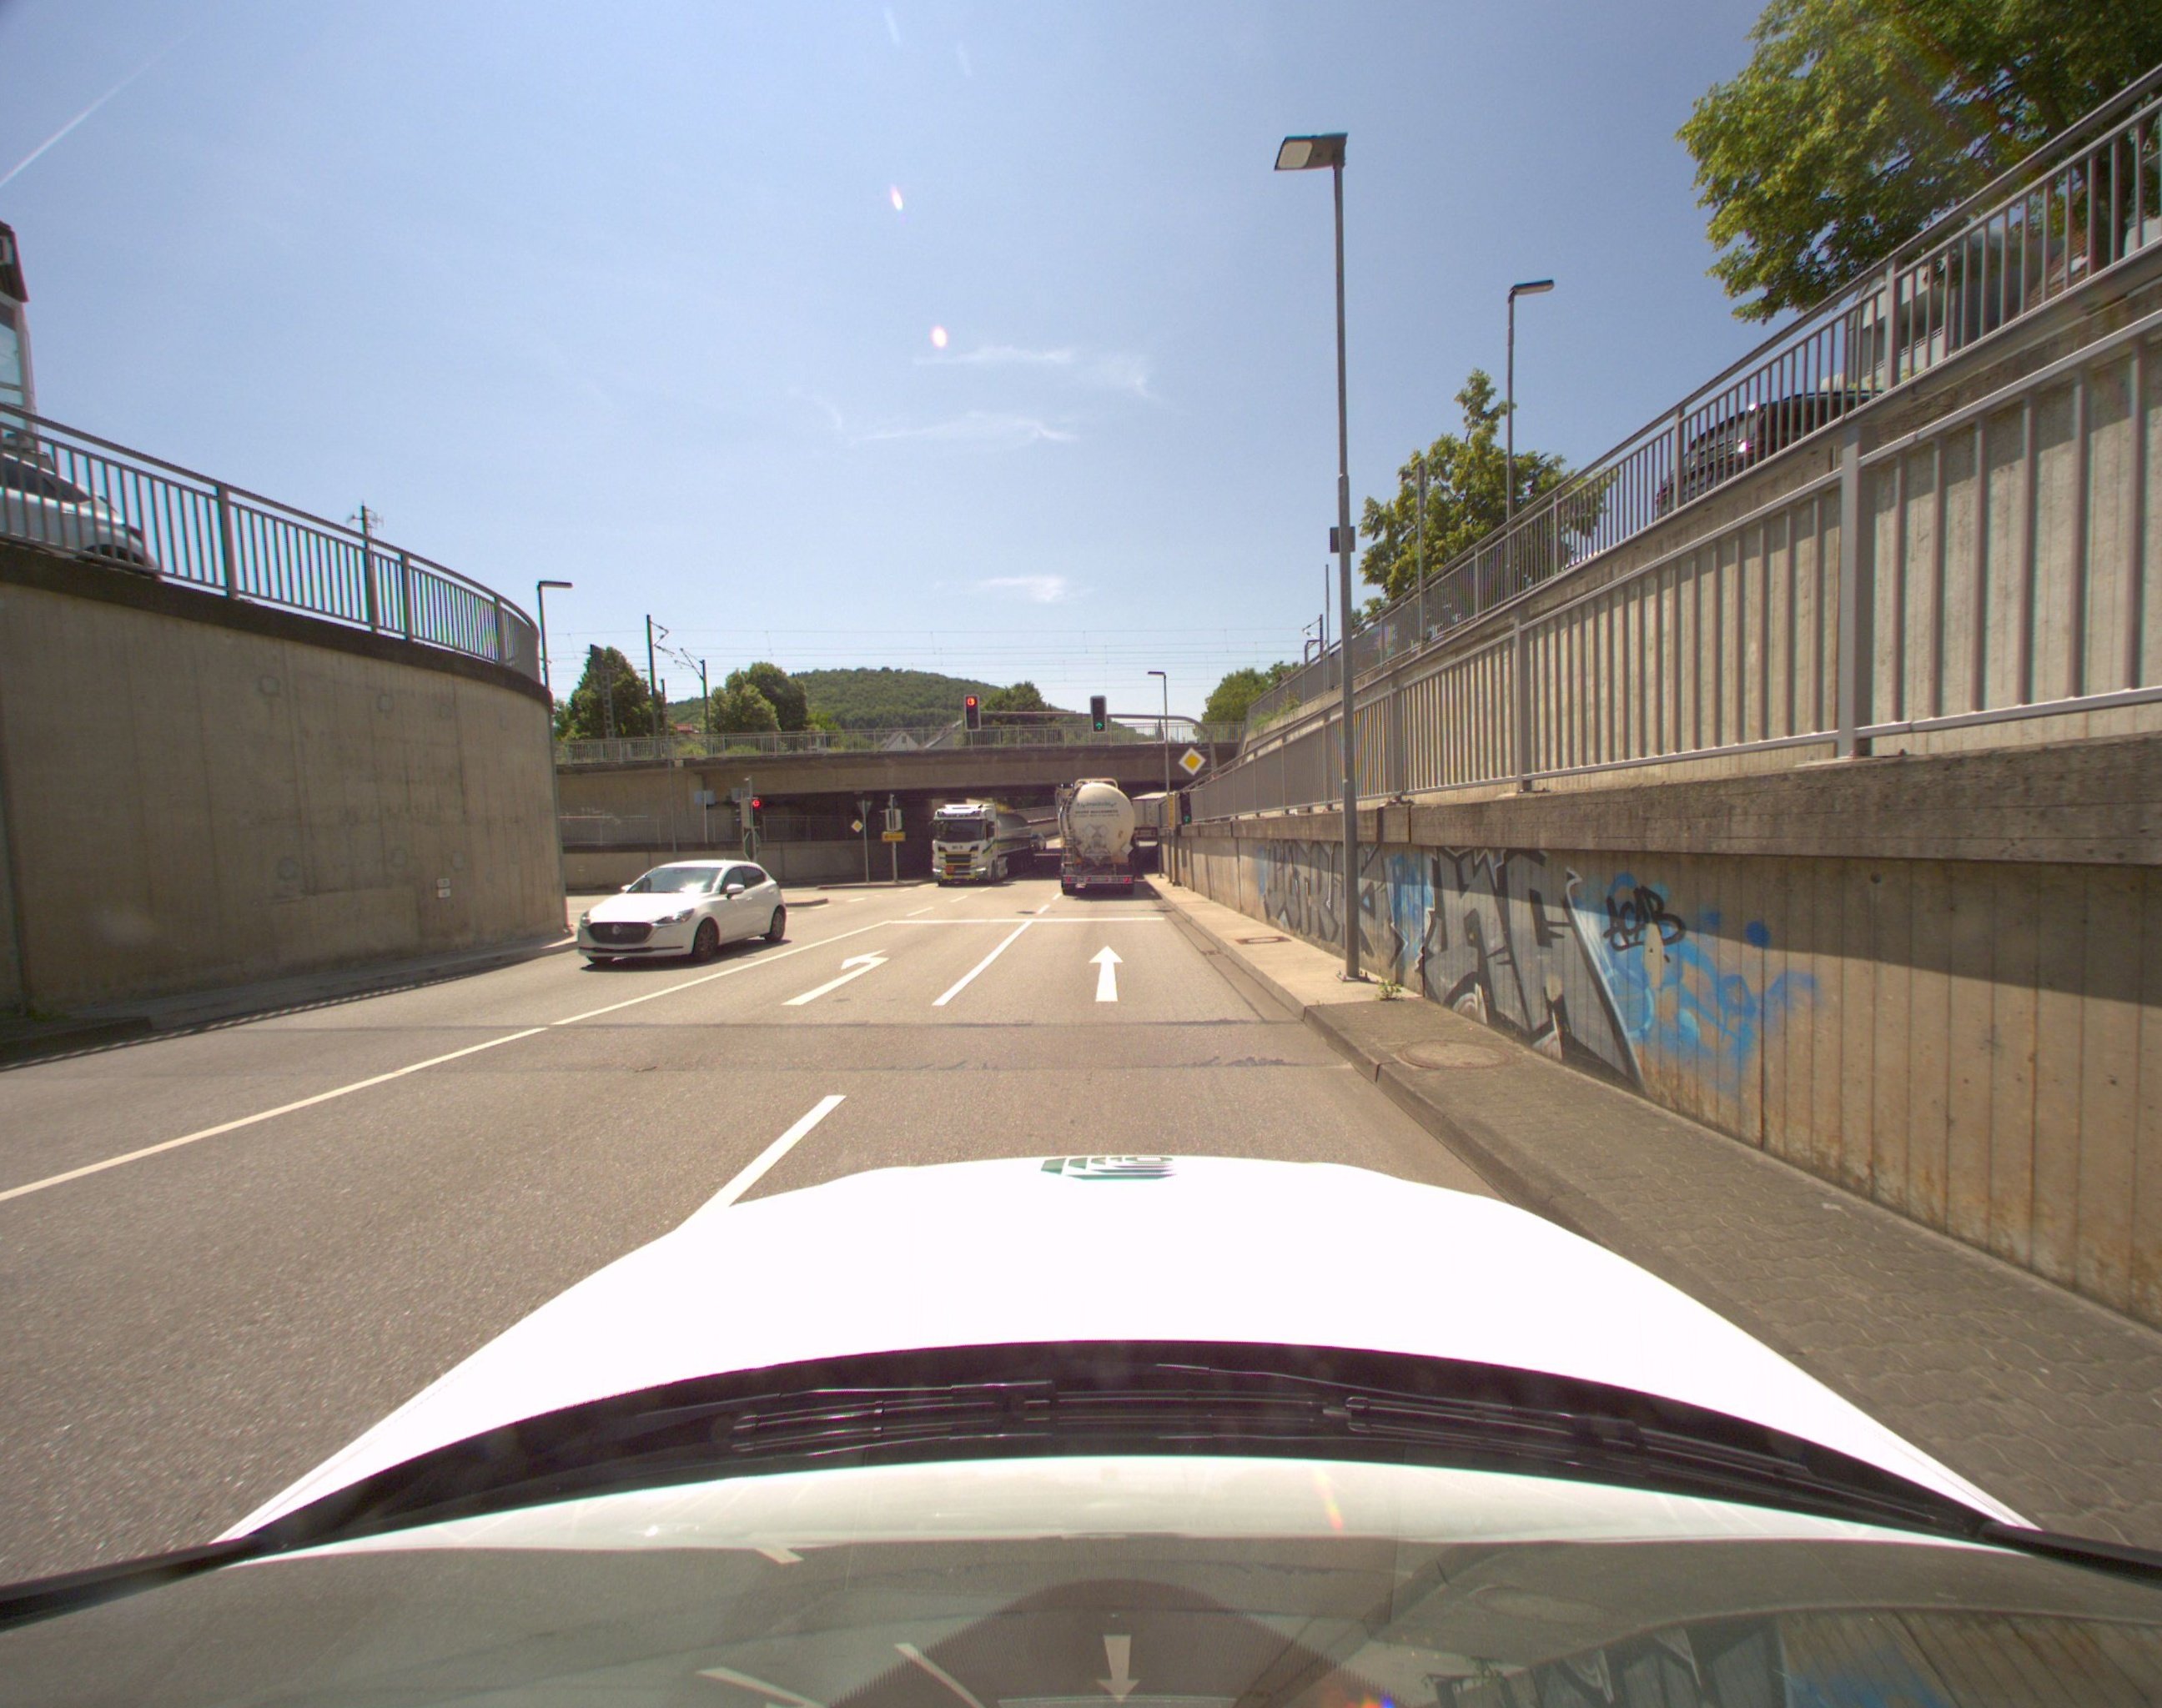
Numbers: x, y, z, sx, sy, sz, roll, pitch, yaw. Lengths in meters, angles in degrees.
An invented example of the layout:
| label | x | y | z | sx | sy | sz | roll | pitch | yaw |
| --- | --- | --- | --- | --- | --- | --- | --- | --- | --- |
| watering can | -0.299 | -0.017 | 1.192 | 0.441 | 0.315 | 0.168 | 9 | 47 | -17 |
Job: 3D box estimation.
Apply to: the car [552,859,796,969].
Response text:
| label | x | y | z | sx | sy | sz | roll | pitch | yaw |
| --- | --- | --- | --- | --- | --- | --- | --- | --- | --- |
| car | -6.223 | 0.825 | 13.057 | 1.675 | 1.440 | 4.096 | -1 | 0 | 2 |

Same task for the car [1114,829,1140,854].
| label | x | y | z | sx | sy | sz | roll | pitch | yaw |
| --- | --- | --- | --- | --- | --- | --- | --- | --- | --- |
| car | 3.659 | -1.012 | 64.746 | 1.873 | 1.638 | 4.009 | 0 | 6 | 5 |

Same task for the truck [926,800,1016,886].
| label | x | y | z | sx | sy | sz | roll | pitch | yaw |
| --- | --- | --- | --- | --- | --- | --- | --- | --- | --- |
| truck | -5.008 | -0.504 | 38.571 | 2.677 | 3.663 | 7.378 | 0 | 0 | 4 |

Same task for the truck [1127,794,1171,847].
| label | x | y | z | sx | sy | sz | roll | pitch | yaw |
| --- | --- | --- | --- | --- | --- | --- | --- | --- | --- |
| truck | 6.905 | -3.355 | 81.551 | 3.060 | 4.998 | 10.119 | 0 | 2 | 12 |

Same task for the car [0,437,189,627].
| label | x | y | z | sx | sy | sz | roll | pitch | yaw |
| --- | --- | --- | --- | --- | --- | --- | --- | --- | --- |
| car | -11.506 | -3.354 | 7.708 | 1.614 | 1.500 | 4.044 | 0 | 3 | -1 |

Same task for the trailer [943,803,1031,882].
| label | x | y | z | sx | sy | sz | roll | pitch | yaw |
| --- | --- | --- | --- | --- | --- | --- | --- | --- | --- |
| trailer | -4.664 | -0.581 | 42.658 | 2.677 | 3.663 | 9.902 | 0 | 0 | 5 |

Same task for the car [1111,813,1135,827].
| label | x | y | z | sx | sy | sz | roll | pitch | yaw |
| --- | --- | --- | --- | --- | --- | --- | --- | --- | --- |
| car | 5.355 | -4.289 | 103.133 | 1.882 | 1.529 | 4.021 | -2 | 4 | 18 |

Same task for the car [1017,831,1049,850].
| label | x | y | z | sx | sy | sz | roll | pitch | yaw |
| --- | --- | --- | --- | --- | --- | --- | --- | --- | --- |
| car | -3.995 | -1.170 | 68.696 | 1.769 | 1.466 | 3.845 | 0 | 4 | 11 |

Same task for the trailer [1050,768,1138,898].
| label | x | y | z | sx | sy | sz | roll | pitch | yaw |
| --- | --- | --- | --- | --- | --- | --- | --- | --- | --- |
| trailer | 0.773 | -0.719 | 32.333 | 2.723 | 4.064 | 13.324 | -1 | 1 | 3 |
